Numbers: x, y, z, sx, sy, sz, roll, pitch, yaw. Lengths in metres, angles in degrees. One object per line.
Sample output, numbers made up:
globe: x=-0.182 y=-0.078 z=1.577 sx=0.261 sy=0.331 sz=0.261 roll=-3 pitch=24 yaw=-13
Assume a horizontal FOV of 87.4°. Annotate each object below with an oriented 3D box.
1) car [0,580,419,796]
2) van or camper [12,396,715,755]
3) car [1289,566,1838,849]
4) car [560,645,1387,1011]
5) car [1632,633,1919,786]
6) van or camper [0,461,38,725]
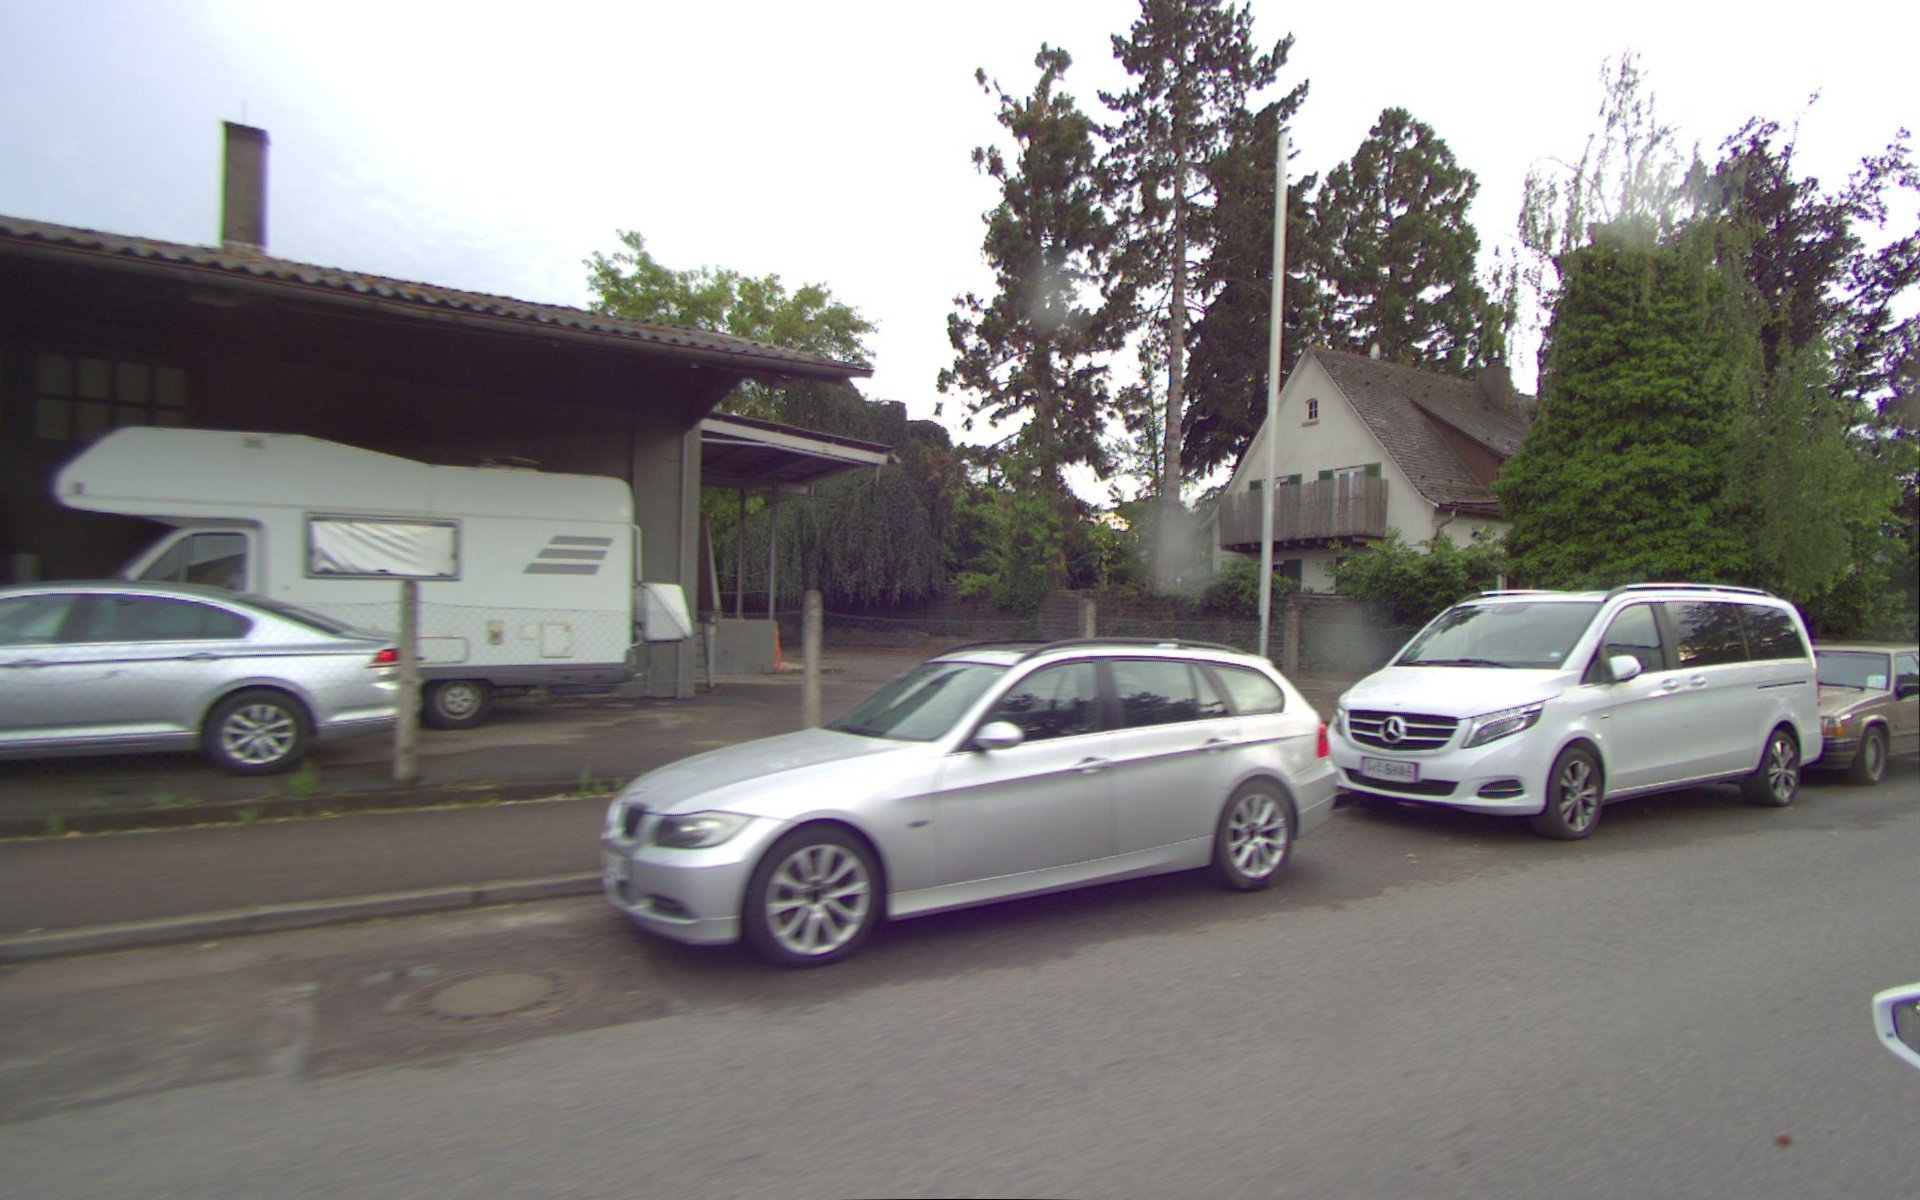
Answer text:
car: x=-6.912 y=0.601 z=7.789 sx=4.733 sy=1.460 sz=1.819 roll=1 pitch=1 yaw=-31
van or camper: x=-6.071 y=-0.176 z=11.166 sx=6.079 sy=3.076 sz=2.292 roll=1 pitch=1 yaw=-31
car: x=5.466 y=0.788 z=8.903 sx=5.147 sy=1.917 sz=1.885 roll=1 pitch=-2 yaw=-29
car: x=0.272 y=0.977 z=5.833 sx=4.651 sy=1.383 sz=1.630 roll=1 pitch=-2 yaw=-30
car: x=10.090 y=1.119 z=11.641 sx=4.921 sy=1.446 sz=1.808 roll=1 pitch=-2 yaw=-29
van or camper: x=-11.450 y=-0.107 z=8.417 sx=5.137 sy=2.524 sz=1.983 roll=1 pitch=1 yaw=-31
